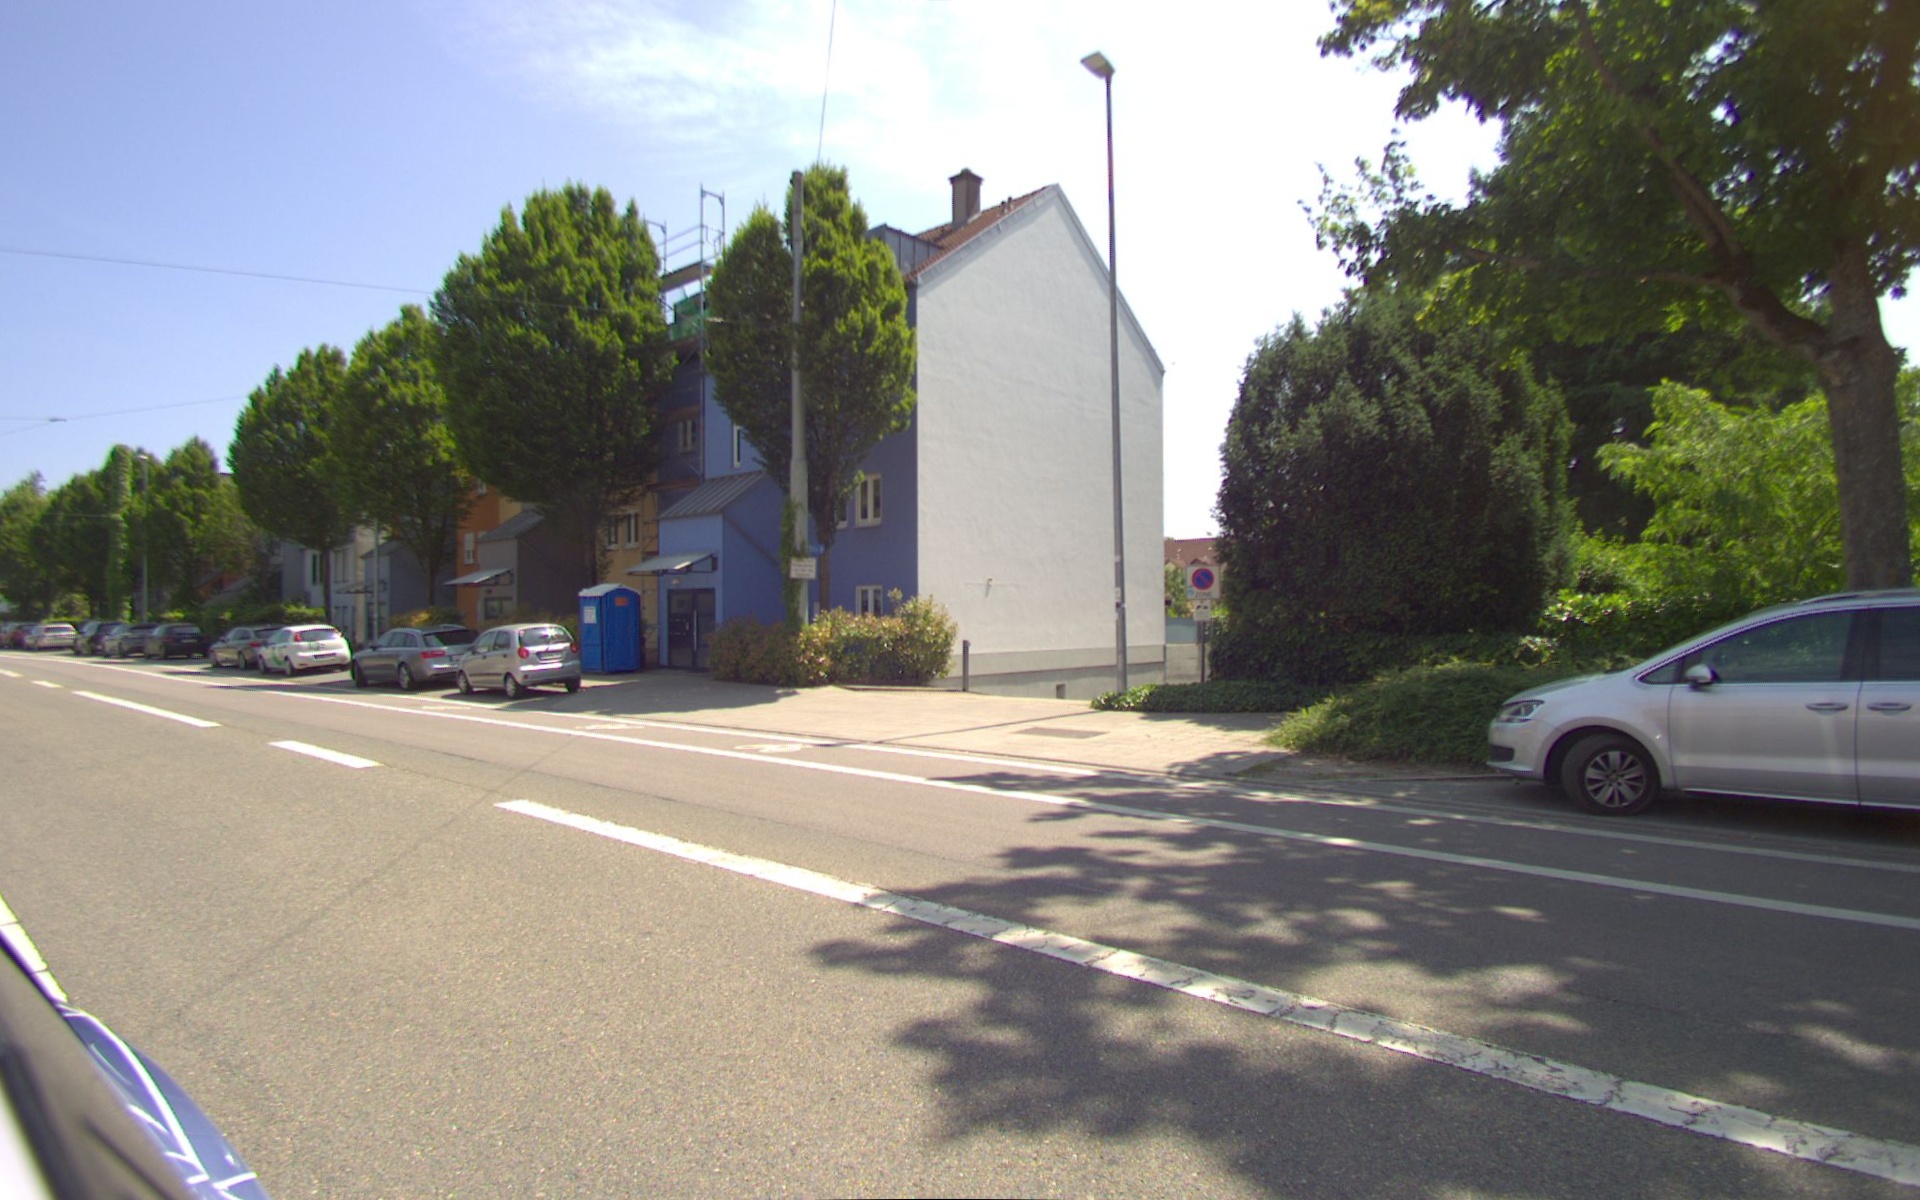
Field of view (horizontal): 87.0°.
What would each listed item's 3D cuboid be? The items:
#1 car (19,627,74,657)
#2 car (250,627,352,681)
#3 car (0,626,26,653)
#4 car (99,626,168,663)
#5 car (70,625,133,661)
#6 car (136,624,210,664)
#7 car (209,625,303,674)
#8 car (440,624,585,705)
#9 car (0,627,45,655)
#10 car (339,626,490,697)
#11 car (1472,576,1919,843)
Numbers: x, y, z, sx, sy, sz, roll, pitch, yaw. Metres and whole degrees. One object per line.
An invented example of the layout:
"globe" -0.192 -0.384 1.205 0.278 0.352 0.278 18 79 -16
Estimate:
"car" -51.180 2.347 56.693 4.079 1.507 1.702 -1 2 40
"car" -20.810 1.663 31.928 3.646 1.507 1.635 -1 2 40
"car" -59.641 2.469 62.892 3.467 1.507 1.842 -1 2 40
"car" -37.349 1.983 45.721 4.079 1.507 1.635 -1 2 40
"car" -42.194 2.091 49.703 4.079 1.599 1.635 -1 2 40
"car" -33.529 1.855 43.080 4.079 1.507 1.635 -1 2 40
"car" -24.711 1.689 35.460 4.079 1.507 1.635 -1 2 40
"car" -9.681 1.328 21.824 3.279 1.507 1.487 -1 2 40
"car" -55.890 2.401 60.037 3.467 1.507 1.842 -1 2 40
"car" -13.626 1.454 25.159 4.635 1.507 1.659 -1 2 40
"car" 6.570 0.696 7.386 4.687 1.701 1.949 -2 -1 43
